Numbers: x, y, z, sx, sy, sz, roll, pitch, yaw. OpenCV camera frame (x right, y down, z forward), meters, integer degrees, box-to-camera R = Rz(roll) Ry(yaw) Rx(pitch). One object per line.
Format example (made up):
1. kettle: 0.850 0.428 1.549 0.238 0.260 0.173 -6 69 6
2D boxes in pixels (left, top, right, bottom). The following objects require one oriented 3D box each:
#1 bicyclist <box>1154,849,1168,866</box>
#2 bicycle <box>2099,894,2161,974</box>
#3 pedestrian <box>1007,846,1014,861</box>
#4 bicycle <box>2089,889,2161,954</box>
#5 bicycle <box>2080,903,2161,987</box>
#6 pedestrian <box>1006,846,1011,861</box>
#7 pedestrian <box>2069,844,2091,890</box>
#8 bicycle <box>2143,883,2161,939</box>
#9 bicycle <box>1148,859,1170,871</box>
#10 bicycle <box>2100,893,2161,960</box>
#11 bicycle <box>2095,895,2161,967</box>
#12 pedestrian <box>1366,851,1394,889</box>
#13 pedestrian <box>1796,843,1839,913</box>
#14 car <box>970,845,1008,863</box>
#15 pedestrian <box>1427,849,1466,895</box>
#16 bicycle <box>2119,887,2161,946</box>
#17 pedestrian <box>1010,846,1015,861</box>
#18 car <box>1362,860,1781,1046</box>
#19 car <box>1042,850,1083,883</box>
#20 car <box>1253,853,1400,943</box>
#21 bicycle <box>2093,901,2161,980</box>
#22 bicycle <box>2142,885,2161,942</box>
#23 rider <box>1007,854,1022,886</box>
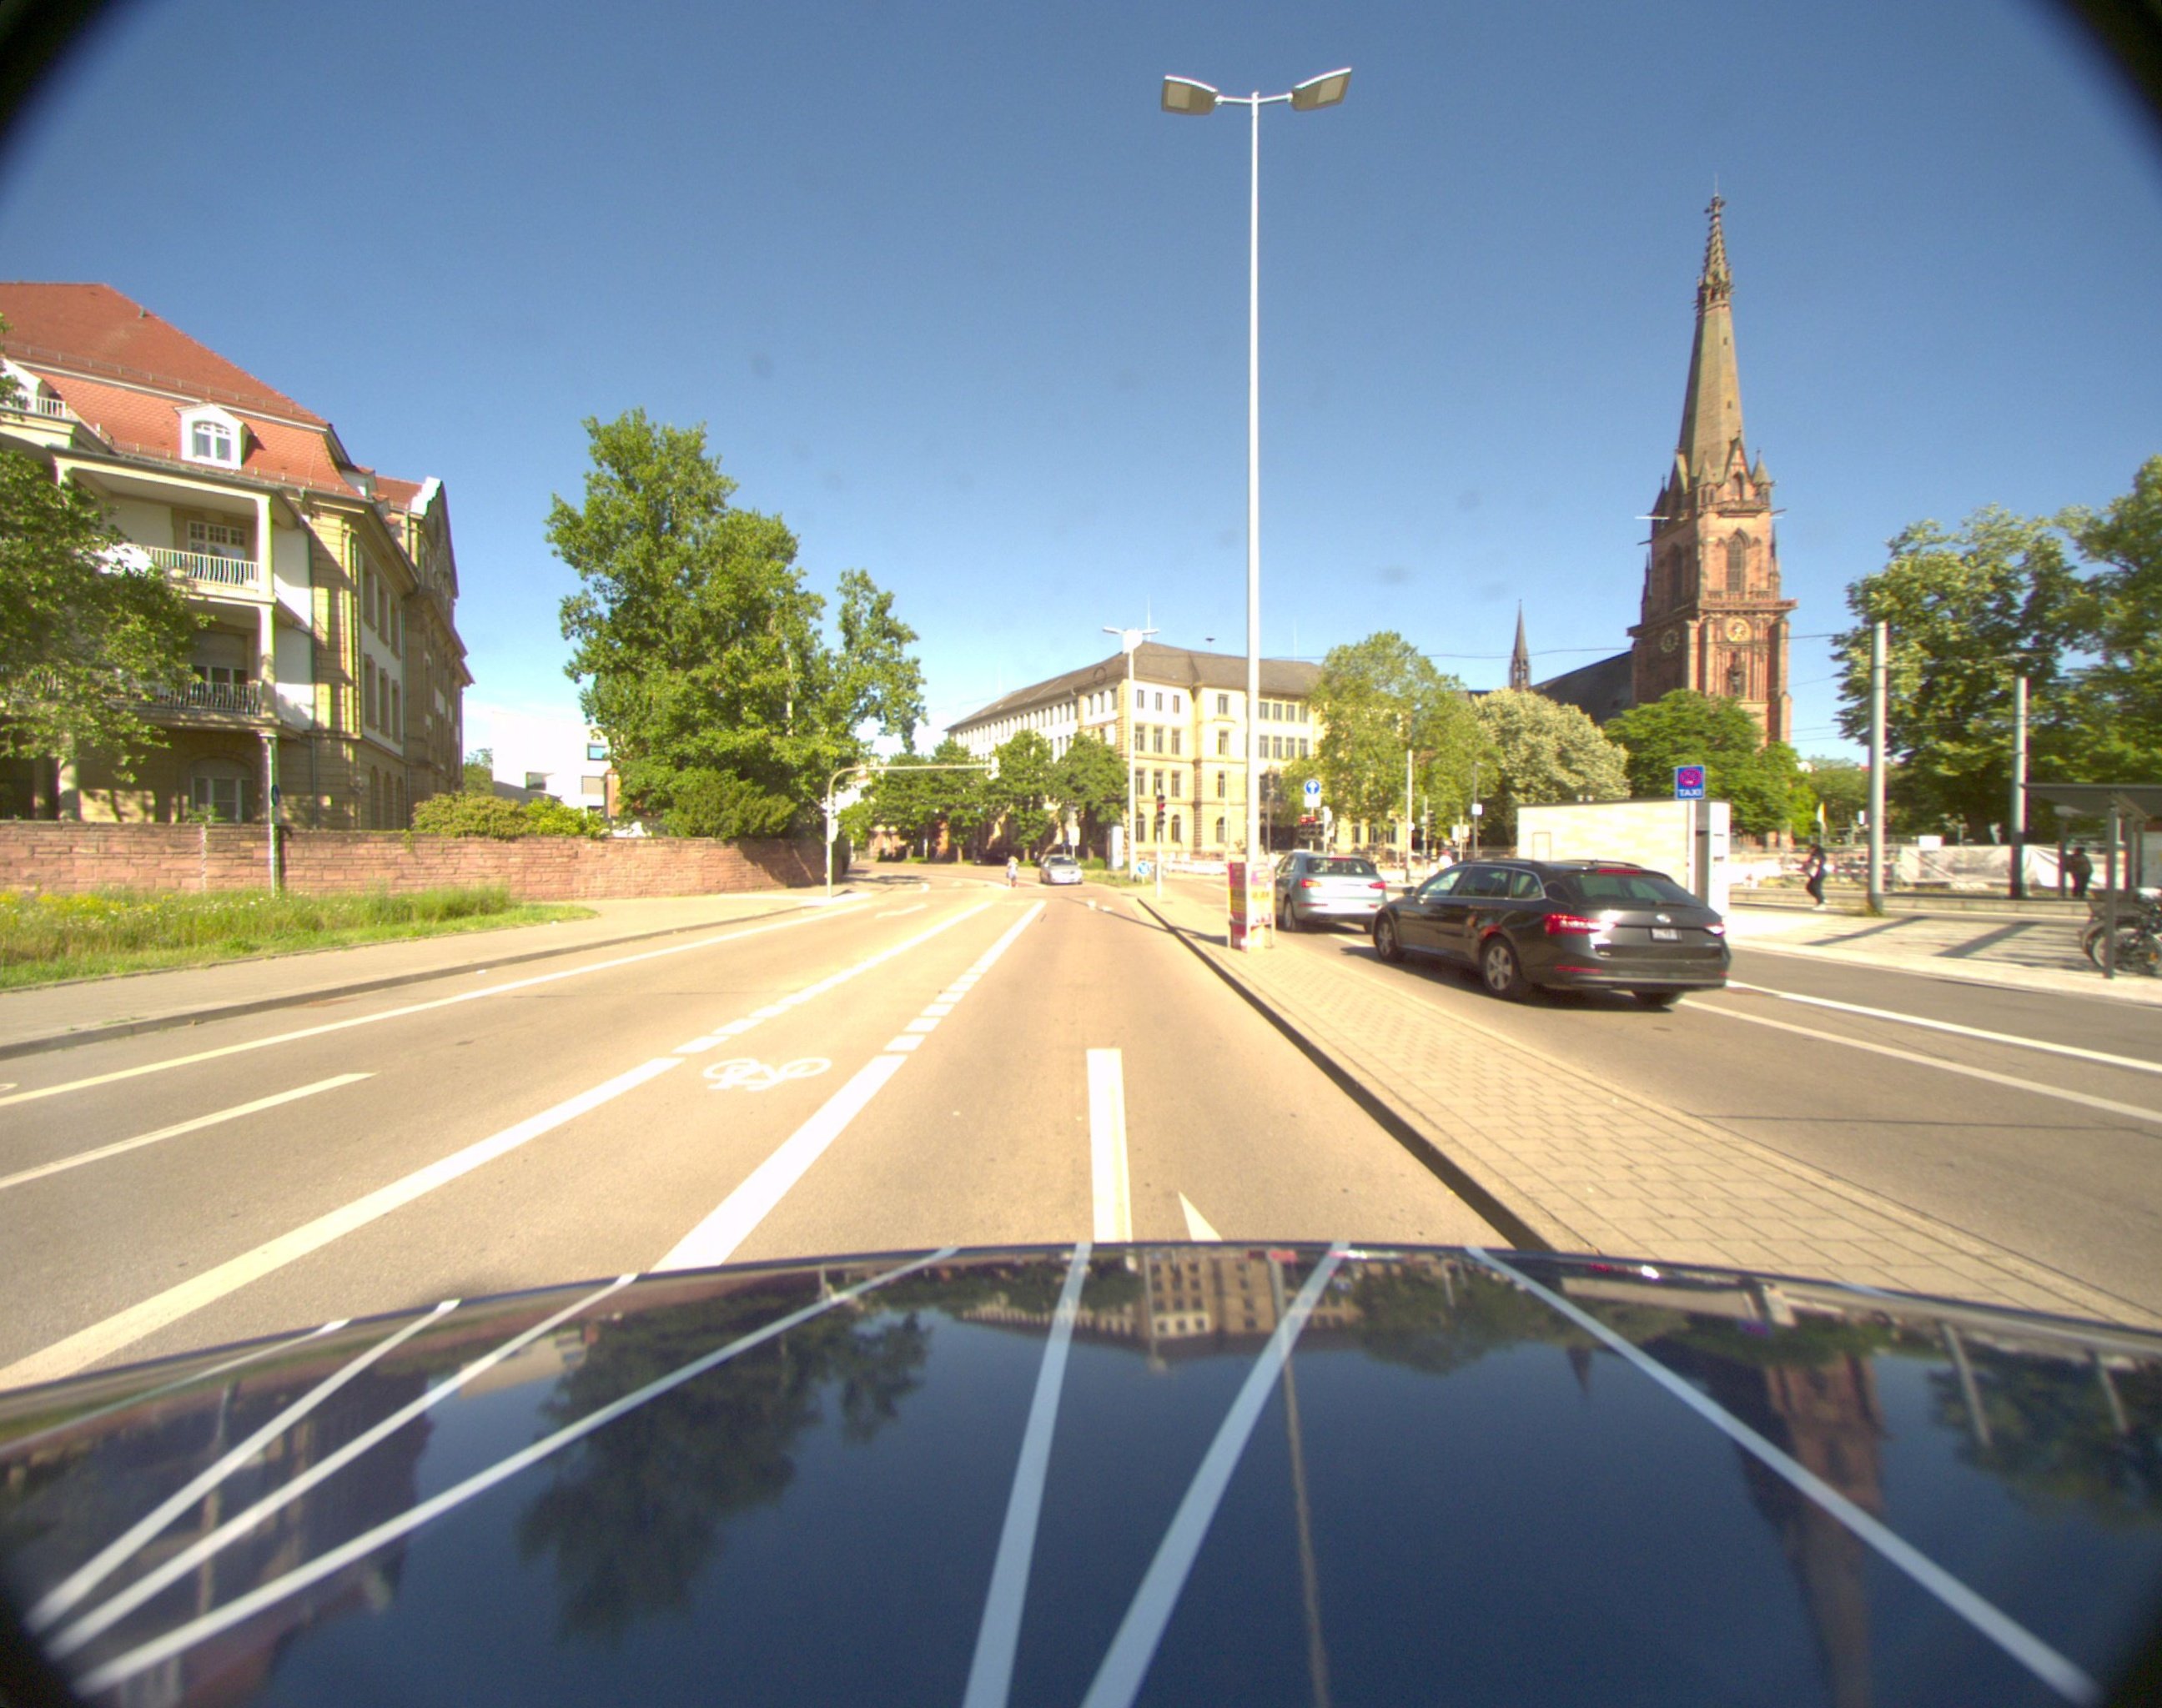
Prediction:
1. bicyclist: 6.660 0.285 63.298 0.893 1.377 0.735 1 1 44
2. bicycle: 15.195 1.122 10.277 0.458 1.055 1.667 -1 1 -33
3. pedestrian: -8.629 -0.079 92.739 0.677 1.715 0.588 -1 4 -22
4. bicycle: 17.908 1.126 12.425 0.458 1.003 1.667 -1 1 -33
5. bicycle: 13.942 1.177 9.532 0.458 1.003 1.667 -1 1 -33
6. pedestrian: -8.840 -0.073 92.539 0.522 1.882 0.360 -1 1 -33
7. pedestrian: 37.566 0.498 28.574 0.404 1.711 0.419 1 1 38
8. bicycle: 20.482 1.062 13.607 0.458 1.003 1.667 -1 1 -33
9. bicycle: 6.513 0.924 63.425 1.830 0.985 0.735 0 1 44
10. bicycle: 17.254 1.146 11.652 0.458 1.003 1.899 -1 1 -33
11. bicycle: 16.067 1.142 10.973 0.458 1.003 1.667 -1 1 -33
12. pedestrian: 13.929 0.728 35.404 0.977 1.769 0.803 0 1 -1
13. pedestrian: 19.157 0.604 19.782 0.760 1.757 0.661 1 1 43
14. car: -10.911 -0.032 90.477 1.994 2.002 4.721 0 1 32
15. pedestrian: 14.454 0.699 30.060 0.977 1.769 1.131 0 1 -1
16. bicycle: 19.122 1.097 12.946 0.458 1.003 1.667 -1 1 -33
17. pedestrian: -8.350 -0.080 92.955 0.522 1.865 0.360 -1 1 -33
18. car: 5.054 0.872 8.799 1.793 1.490 4.574 1 1 -1
19. car: -1.053 0.643 41.057 1.707 1.657 3.911 -1 1 -9
20. car: 4.866 0.787 15.717 1.859 1.533 4.241 1 1 3
21. bicycle: 14.694 1.170 9.962 0.458 1.003 1.667 -1 1 -33
22. bicycle: 19.889 1.074 13.197 0.458 1.003 1.667 -1 1 -33
23. rider: -3.479 0.819 39.714 0.658 1.610 0.989 -1 1 1
